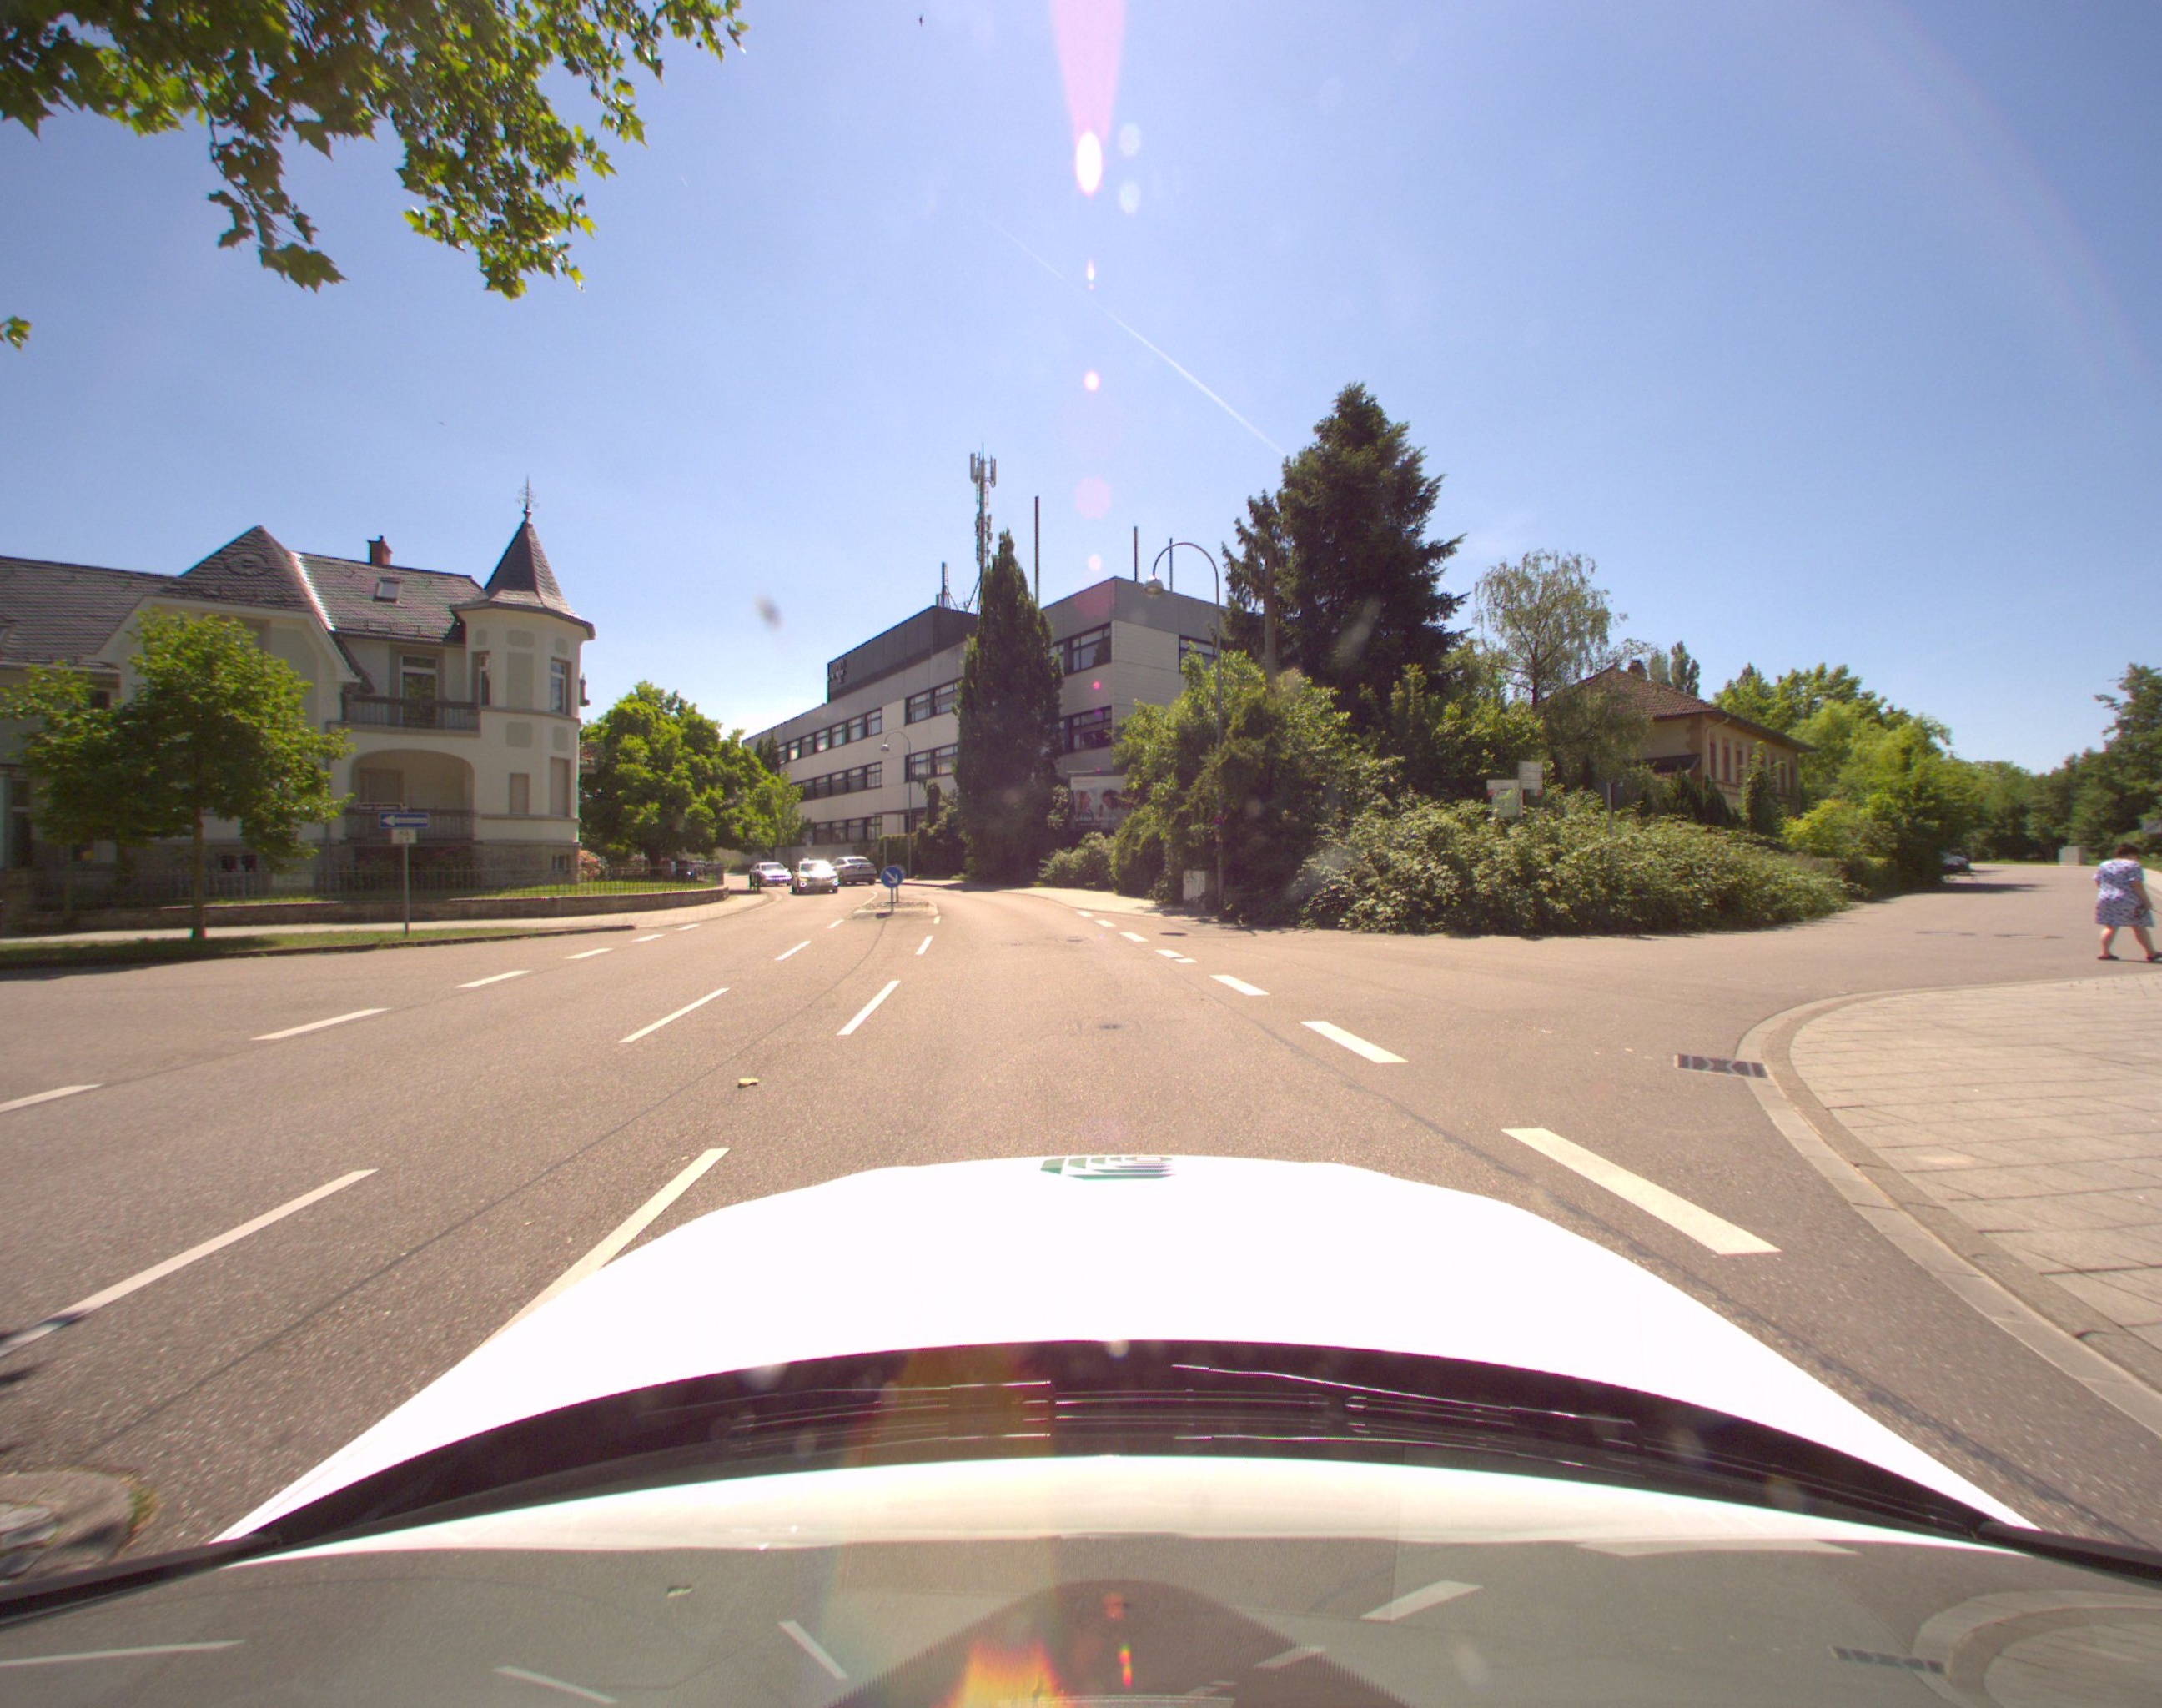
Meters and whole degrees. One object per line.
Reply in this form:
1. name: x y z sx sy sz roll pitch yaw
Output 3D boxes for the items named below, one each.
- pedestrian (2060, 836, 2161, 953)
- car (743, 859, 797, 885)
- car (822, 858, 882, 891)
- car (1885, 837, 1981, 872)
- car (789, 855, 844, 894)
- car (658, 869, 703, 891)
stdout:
1. pedestrian: 14.871 0.569 11.750 0.614 1.627 0.699 0 -1 -5
2. car: -18.858 1.110 49.316 1.773 1.435 4.254 -2 0 -39
3. car: -13.224 1.131 46.911 1.951 1.614 4.424 -6 3 -34
4. car: 60.277 0.043 57.688 2.211 2.322 4.410 0 0 -35
5. car: -12.676 0.934 38.826 1.882 1.623 4.267 -2 1 -26
6. car: -27.812 1.768 56.474 1.941 1.437 4.606 3 -2 -37
